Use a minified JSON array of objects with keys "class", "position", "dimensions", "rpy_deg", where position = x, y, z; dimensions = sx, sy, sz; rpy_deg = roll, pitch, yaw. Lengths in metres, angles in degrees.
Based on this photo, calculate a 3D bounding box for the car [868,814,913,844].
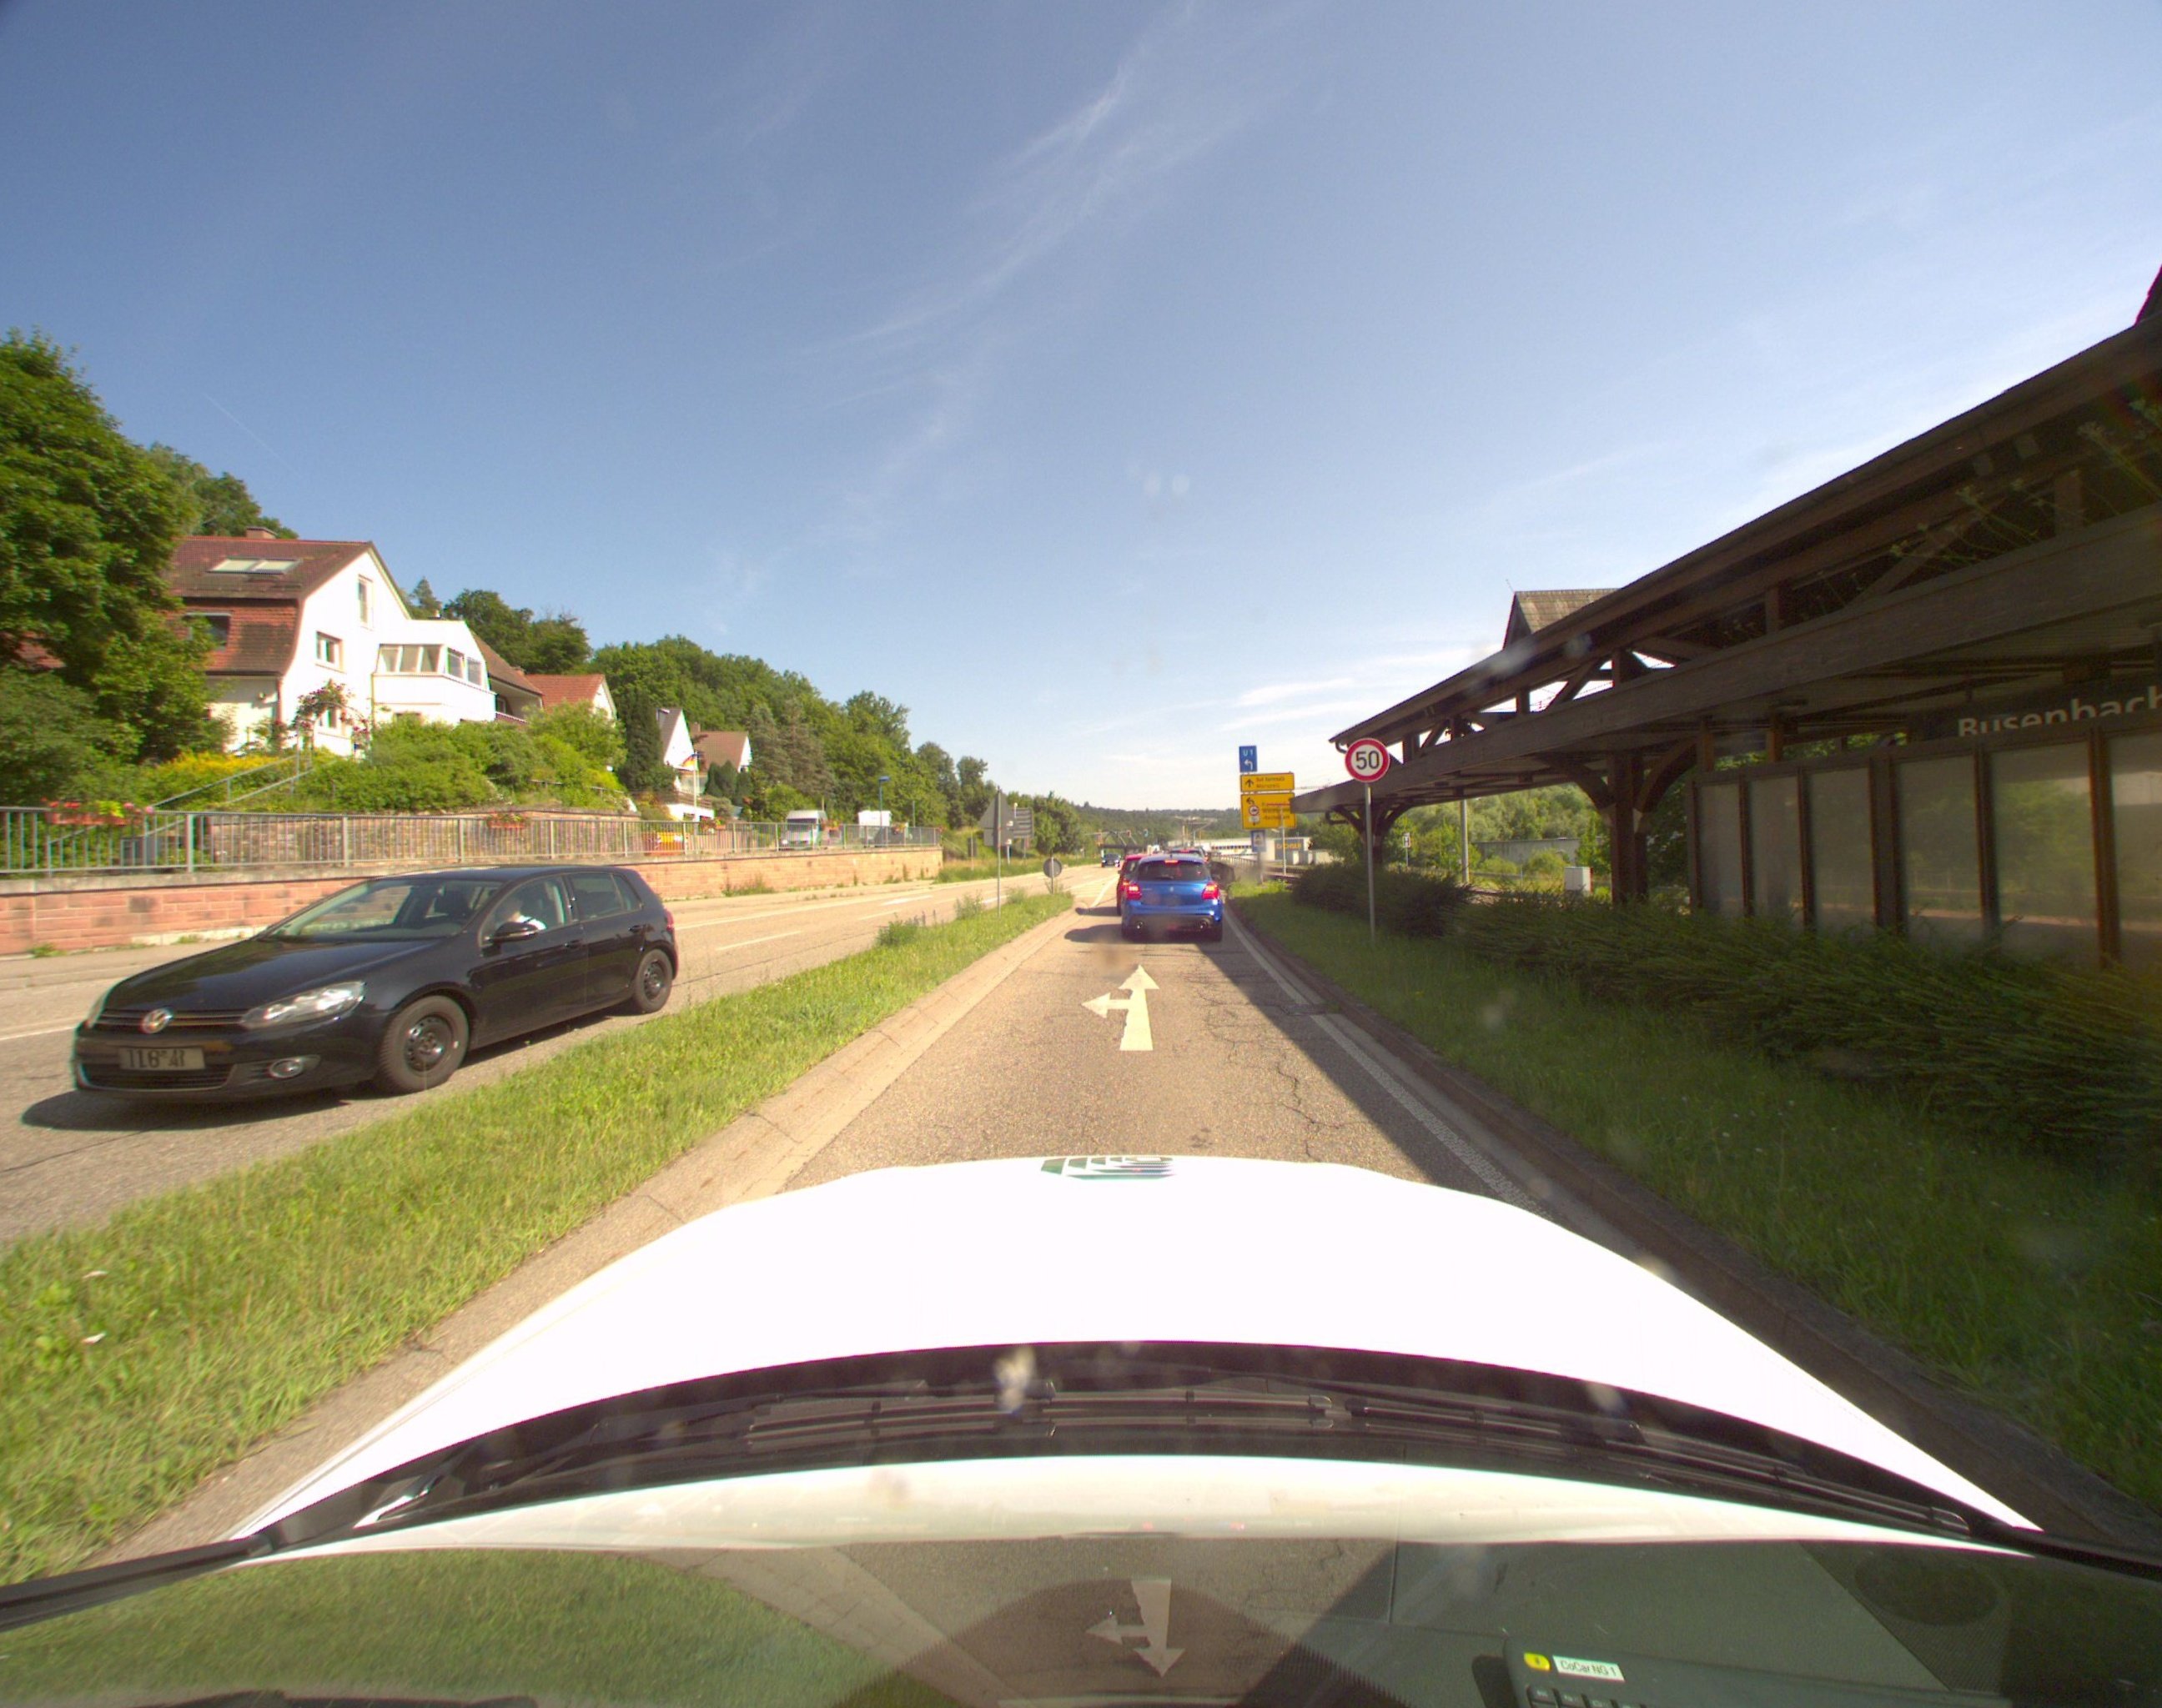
[{"class":"car","position":[-12.868,-1.664,55.328],"dimensions":[2.015,1.920,4.729],"rpy_deg":[1,1,-2]}]

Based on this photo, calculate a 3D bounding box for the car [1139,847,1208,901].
[{"class":"car","position":[2.991,0.573,26.247],"dimensions":[1.983,1.531,4.610],"rpy_deg":[-1,0,7]}]

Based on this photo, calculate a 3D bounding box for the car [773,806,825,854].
[{"class":"car","position":[-15.393,-1.327,44.711],"dimensions":[2.096,2.444,5.759],"rpy_deg":[0,1,-13]}]

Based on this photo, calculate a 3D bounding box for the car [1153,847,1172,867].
[{"class":"car","position":[9.190,0.313,91.895],"dimensions":[1.984,2.013,4.006],"rpy_deg":[1,1,5]}]

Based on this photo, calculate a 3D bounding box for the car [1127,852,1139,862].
[{"class":"car","position":[9.490,0.500,148.379],"dimensions":[1.984,1.783,4.006],"rpy_deg":[0,0,5]}]

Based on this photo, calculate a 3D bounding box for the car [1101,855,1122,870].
[{"class":"car","position":[3.252,0.842,85.571],"dimensions":[1.781,1.470,4.726],"rpy_deg":[-1,0,8]}]

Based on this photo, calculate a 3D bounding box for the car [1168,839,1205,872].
[{"class":"car","position":[5.943,0.073,46.141],"dimensions":[1.983,1.736,4.008],"rpy_deg":[1,0,6]}]

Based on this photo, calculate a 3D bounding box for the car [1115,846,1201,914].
[{"class":"car","position":[2.028,0.607,21.032],"dimensions":[1.983,1.571,4.007],"rpy_deg":[0,0,7]}]

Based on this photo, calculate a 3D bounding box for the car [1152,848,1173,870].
[{"class":"car","position":[8.008,0.475,80.487],"dimensions":[1.984,2.013,4.006],"rpy_deg":[1,1,5]}]

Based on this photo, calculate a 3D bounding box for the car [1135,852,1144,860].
[{"class":"car","position":[13.742,0.443,191.906],"dimensions":[1.986,2.013,4.002],"rpy_deg":[0,0,2]}]

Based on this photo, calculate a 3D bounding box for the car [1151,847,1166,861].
[{"class":"car","position":[10.765,-0.016,113.142],"dimensions":[1.984,1.816,4.006],"rpy_deg":[1,1,5]}]

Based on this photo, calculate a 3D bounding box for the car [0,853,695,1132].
[{"class":"car","position":[-4.960,0.752,6.454],"dimensions":[1.739,1.462,4.045],"rpy_deg":[-1,0,2]}]

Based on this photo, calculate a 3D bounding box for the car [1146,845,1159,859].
[{"class":"car","position":[11.194,-0.364,127.238],"dimensions":[1.984,2.144,4.726],"rpy_deg":[0,0,5]}]

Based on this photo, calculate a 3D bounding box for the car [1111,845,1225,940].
[{"class":"car","position":[1.582,0.621,15.371],"dimensions":[1.860,1.548,4.005],"rpy_deg":[0,0,4]}]

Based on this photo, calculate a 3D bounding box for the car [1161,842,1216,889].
[{"class":"car","position":[4.211,0.411,32.262],"dimensions":[1.983,1.686,4.505],"rpy_deg":[1,1,7]}]

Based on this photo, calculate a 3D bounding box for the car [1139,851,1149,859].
[{"class":"car","position":[12.713,0.131,165.087],"dimensions":[1.984,1.591,4.005],"rpy_deg":[0,0,4]}]
